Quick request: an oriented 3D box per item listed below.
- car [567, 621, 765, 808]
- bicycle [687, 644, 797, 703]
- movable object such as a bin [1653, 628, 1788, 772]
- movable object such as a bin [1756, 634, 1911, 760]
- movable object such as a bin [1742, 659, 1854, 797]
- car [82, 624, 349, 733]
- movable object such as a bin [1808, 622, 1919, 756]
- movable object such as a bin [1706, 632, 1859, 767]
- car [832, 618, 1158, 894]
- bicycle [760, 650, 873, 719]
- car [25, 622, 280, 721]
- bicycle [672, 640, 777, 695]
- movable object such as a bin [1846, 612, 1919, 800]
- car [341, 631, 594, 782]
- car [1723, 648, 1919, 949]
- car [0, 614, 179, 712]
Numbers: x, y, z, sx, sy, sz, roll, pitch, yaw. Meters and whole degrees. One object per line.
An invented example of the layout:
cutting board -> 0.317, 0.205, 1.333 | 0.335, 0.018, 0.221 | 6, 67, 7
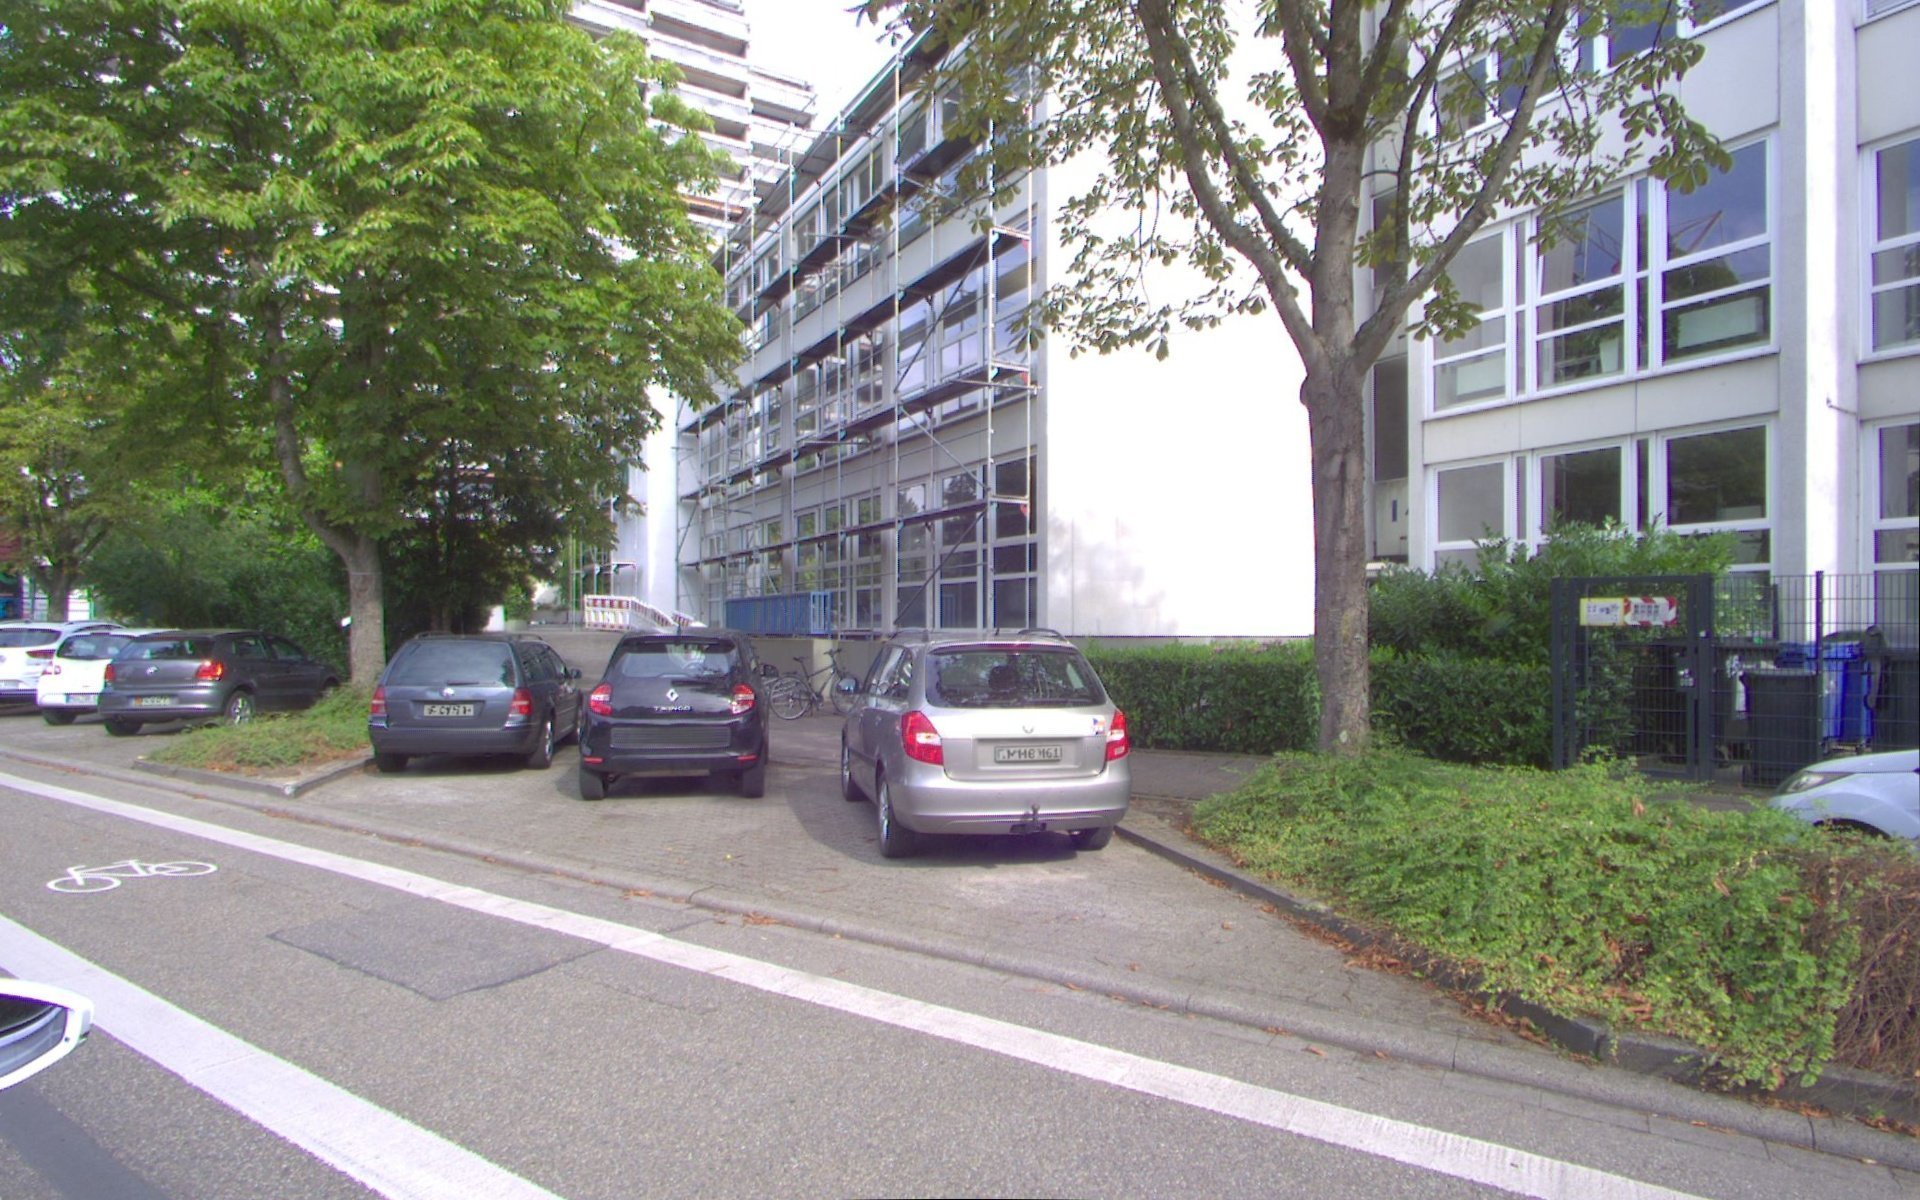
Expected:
car -> -2.812, 1.010, 10.196 | 1.566, 1.557, 3.416 | 1, -1, -10
bicycle -> -4.107, 1.371, 18.953 | 1.949, 1.057, 0.591 | 1, -1, -30
movable object such as a bin -> 8.079, 1.019, 10.645 | 1.012, 1.425, 0.906 | 1, -1, -36
movable object such as a bin -> 10.386, 1.098, 11.912 | 1.160, 1.388, 1.171 | 1, -1, -36
movable object such as a bin -> 7.463, 1.106, 8.953 | 0.734, 1.119, 0.781 | 0, -1, 38
car -> -11.091, 1.105, 15.264 | 1.650, 1.438, 3.647 | 0, -2, -6
movable object such as a bin -> 11.569, 1.072, 12.573 | 1.160, 1.588, 1.171 | 1, -1, -36
movable object such as a bin -> 9.241, 1.071, 11.258 | 1.050, 1.409, 1.111 | 1, -1, -36
car -> -0.018, 0.957, 7.821 | 1.566, 1.557, 4.049 | 1, -2, -13
bicycle -> -2.369, 1.380, 16.599 | 1.813, 1.057, 0.451 | 0, 0, -29
car -> -13.430, 1.133, 16.965 | 1.650, 1.493, 3.647 | 0, -2, -6
bicycle -> -4.627, 1.312, 19.688 | 1.944, 1.057, 0.593 | 1, -1, -20
movable object such as a bin -> 8.601, 0.887, 8.568 | 1.397, 1.549, 1.322 | -1, -1, 37
car -> -5.516, 1.084, 11.793 | 1.783, 1.433, 4.166 | 0, -2, -13
car -> 5.571, 0.941, 4.022 | 1.604, 1.411, 3.858 | 1, -2, -13
car -> -16.287, 1.099, 18.377 | 1.651, 1.623, 3.644 | 0, -2, -12
